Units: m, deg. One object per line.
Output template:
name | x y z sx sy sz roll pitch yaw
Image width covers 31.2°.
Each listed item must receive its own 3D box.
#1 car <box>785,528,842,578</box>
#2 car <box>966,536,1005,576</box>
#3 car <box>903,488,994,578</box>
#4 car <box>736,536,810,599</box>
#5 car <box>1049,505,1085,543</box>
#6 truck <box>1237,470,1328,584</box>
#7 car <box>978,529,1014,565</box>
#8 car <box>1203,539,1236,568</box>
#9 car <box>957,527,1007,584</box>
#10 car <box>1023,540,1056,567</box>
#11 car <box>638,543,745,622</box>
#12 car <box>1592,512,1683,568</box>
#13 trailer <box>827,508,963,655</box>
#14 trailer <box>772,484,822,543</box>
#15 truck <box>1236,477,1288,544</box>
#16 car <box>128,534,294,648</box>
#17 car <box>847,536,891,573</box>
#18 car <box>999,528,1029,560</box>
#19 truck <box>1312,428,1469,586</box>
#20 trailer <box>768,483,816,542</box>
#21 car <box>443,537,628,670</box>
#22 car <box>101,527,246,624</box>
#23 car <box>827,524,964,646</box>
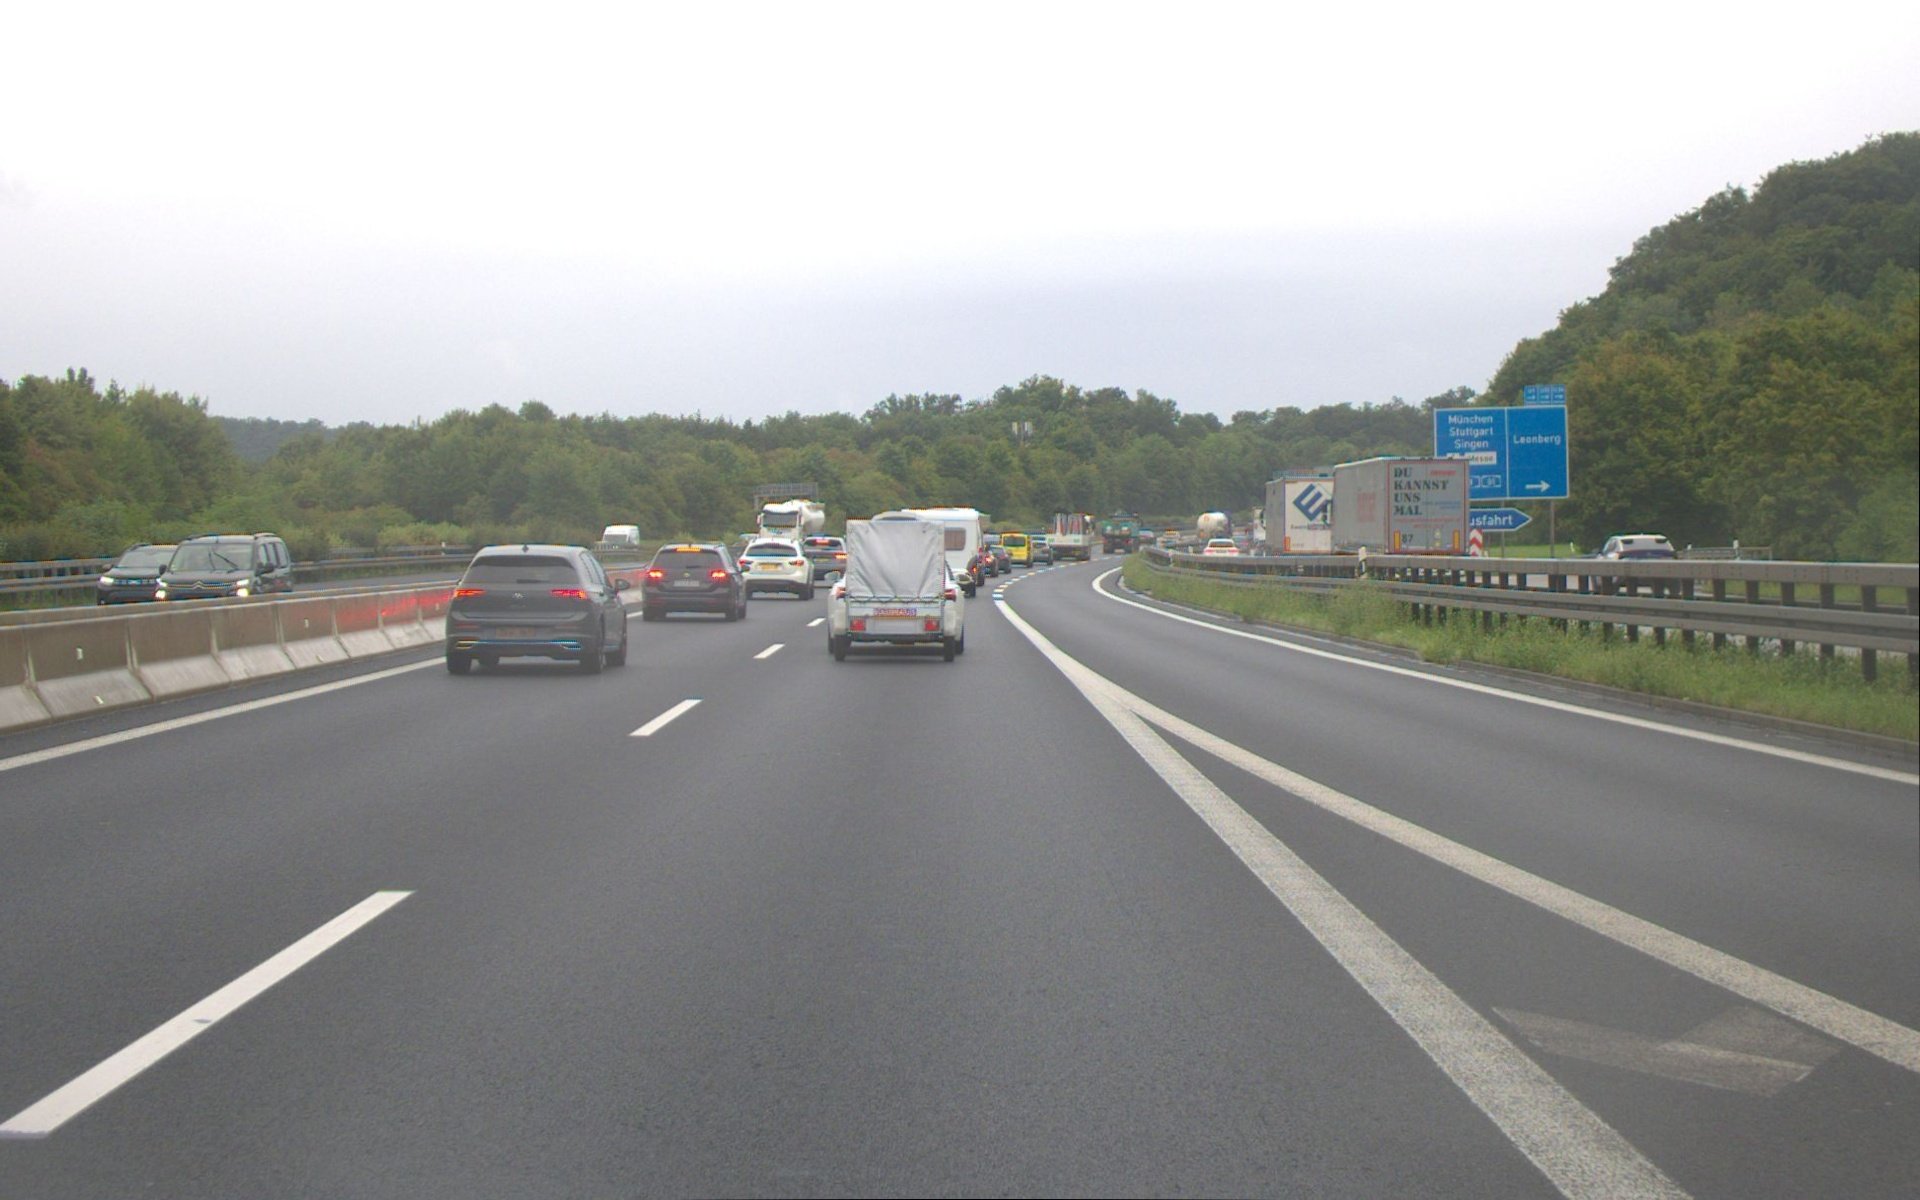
car | -4.937 -1.596 116.497 1.775 1.634 4.043 1 1 0
car | 1.191 -2.016 157.198 1.676 1.806 4.000 1 1 2
car | -0.302 -1.977 102.600 2.507 2.576 5.699 1 1 2
car | -4.953 -0.871 91.648 1.775 1.634 4.043 1 1 0
car | 7.586 -5.348 243.168 2.516 2.566 5.312 1 1 2
truck | 13.724 -3.076 147.209 3.216 4.650 13.032 1 1 2
car | 1.824 -2.657 173.625 1.676 1.806 4.000 1 1 2
car | 13.422 -2.387 177.781 1.676 1.451 3.999 1 1 5
car | 0.847 -1.657 128.393 1.676 2.060 4.000 1 1 3
car | 4.994 -2.900 216.336 2.037 1.677 4.000 1 1 0
car | -5.118 -0.354 65.941 1.765 1.451 4.000 1 1 0
car | 18.039 -1.598 91.686 1.676 1.451 4.000 1 1 1
trailer | -0.857 -0.253 44.698 1.675 1.806 4.000 1 1 -1
trailer | -10.675 -5.660 226.364 2.636 3.723 10.811 1 1 1
truck | 22.048 -6.468 251.561 3.663 4.650 13.030 1 1 5
car | -13.739 -0.184 63.332 1.993 2.007 4.983 1 1 0
car | -4.182 -2.098 158.245 1.776 1.634 4.043 1 1 2
car | 3.208 -3.287 202.293 1.676 1.806 4.000 1 1 2
truck | 13.415 -2.828 108.253 3.215 4.650 13.033 1 1 0
trailer | -10.740 -5.591 220.477 2.636 3.703 6.492 1 1 1
car | -4.874 0.016 39.950 1.676 1.451 4.000 1 1 0
car | -16.882 -0.538 74.010 1.993 2.007 4.983 1 1 0
car | -0.874 -0.231 48.504 1.818 1.610 4.778 1 1 0
